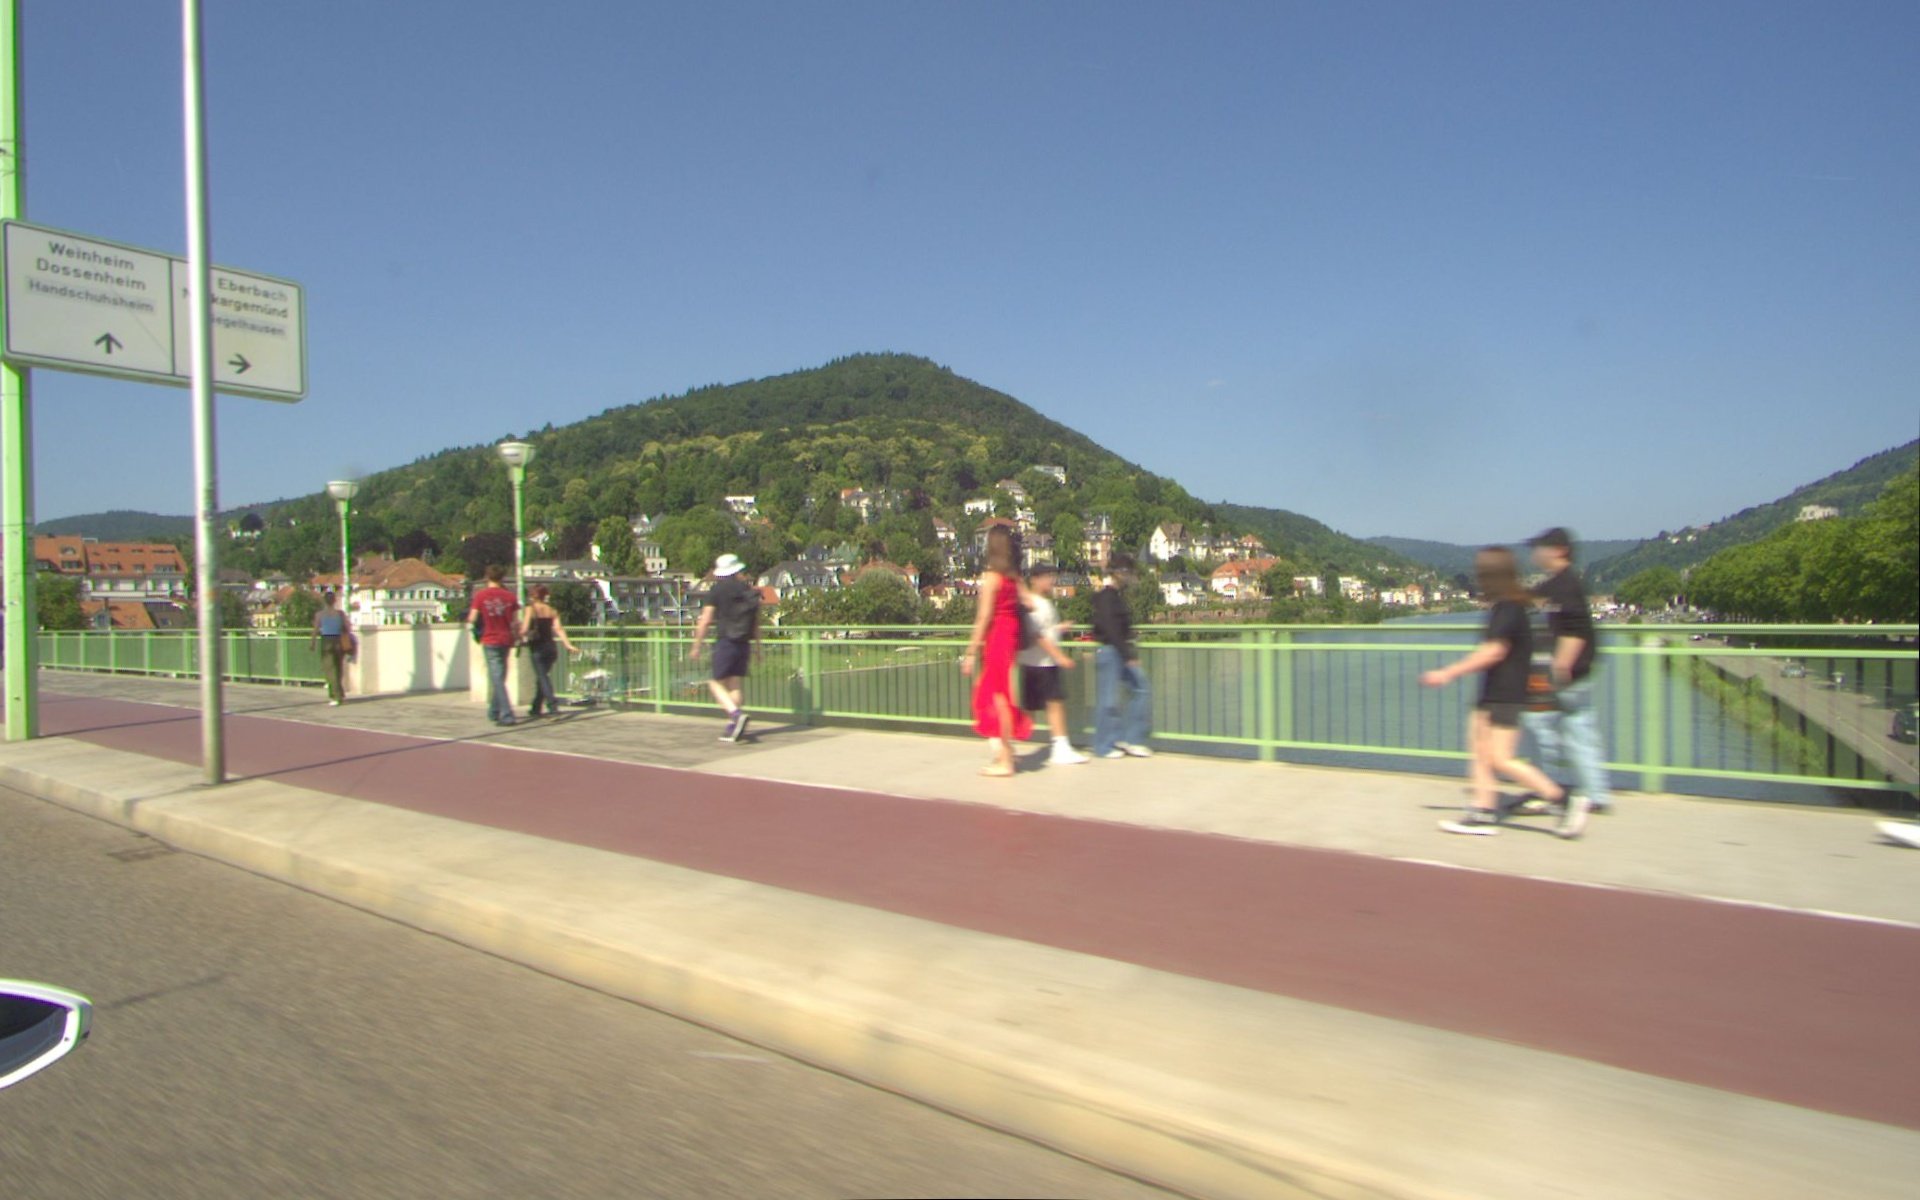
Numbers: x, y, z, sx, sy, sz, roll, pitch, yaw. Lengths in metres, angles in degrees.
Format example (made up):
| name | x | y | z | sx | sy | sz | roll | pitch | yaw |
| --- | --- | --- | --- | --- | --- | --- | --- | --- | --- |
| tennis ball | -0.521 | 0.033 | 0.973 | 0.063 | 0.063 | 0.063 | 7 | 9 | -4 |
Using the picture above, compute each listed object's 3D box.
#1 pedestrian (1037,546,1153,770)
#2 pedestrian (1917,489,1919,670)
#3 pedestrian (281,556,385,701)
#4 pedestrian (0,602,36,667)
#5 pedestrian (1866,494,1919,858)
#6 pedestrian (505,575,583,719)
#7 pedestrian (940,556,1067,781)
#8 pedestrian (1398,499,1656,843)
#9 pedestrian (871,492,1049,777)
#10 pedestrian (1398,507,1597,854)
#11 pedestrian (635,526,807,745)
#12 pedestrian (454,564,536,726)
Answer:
| name | x | y | z | sx | sy | sz | roll | pitch | yaw |
| --- | --- | --- | --- | --- | --- | --- | --- | --- | --- |
| pedestrian | 1.063 | 0.439 | 7.852 | 0.683 | 1.653 | 0.647 | 0 | -1 | 36 |
| pedestrian | 4.562 | 0.366 | 3.935 | 0.916 | 1.773 | 0.983 | -1 | 0 | 30 |
| pedestrian | -9.183 | 0.419 | 14.680 | 1.043 | 2.040 | 0.872 | -1 | 0 | 30 |
| pedestrian | -26.266 | 0.943 | 27.775 | 0.963 | 1.767 | 0.653 | 1 | 1 | 30 |
| pedestrian | 5.010 | 0.351 | 4.742 | 0.872 | 1.699 | 0.832 | -1 | 0 | 29 |
| pedestrian | -4.992 | 0.553 | 12.015 | 0.689 | 1.671 | 0.522 | -1 | 0 | 30 |
| pedestrian | 0.331 | 0.478 | 7.494 | 0.683 | 1.584 | 0.647 | 0 | 2 | 38 |
| pedestrian | 3.369 | 0.372 | 5.961 | 1.237 | 1.793 | 0.982 | 0 | 1 | 34 |
| pedestrian | 0.016 | 0.251 | 7.638 | 0.926 | 1.979 | 1.013 | -1 | 0 | 33 |
| pedestrian | 2.839 | 0.401 | 5.320 | 0.855 | 1.671 | 0.653 | -1 | 0 | 30 |
| pedestrian | -2.267 | 0.332 | 9.535 | 1.235 | 1.920 | 0.983 | -1 | 0 | 30 |
| pedestrian | -5.380 | 0.513 | 11.593 | 0.623 | 1.817 | 0.584 | -1 | 0 | 30 |
